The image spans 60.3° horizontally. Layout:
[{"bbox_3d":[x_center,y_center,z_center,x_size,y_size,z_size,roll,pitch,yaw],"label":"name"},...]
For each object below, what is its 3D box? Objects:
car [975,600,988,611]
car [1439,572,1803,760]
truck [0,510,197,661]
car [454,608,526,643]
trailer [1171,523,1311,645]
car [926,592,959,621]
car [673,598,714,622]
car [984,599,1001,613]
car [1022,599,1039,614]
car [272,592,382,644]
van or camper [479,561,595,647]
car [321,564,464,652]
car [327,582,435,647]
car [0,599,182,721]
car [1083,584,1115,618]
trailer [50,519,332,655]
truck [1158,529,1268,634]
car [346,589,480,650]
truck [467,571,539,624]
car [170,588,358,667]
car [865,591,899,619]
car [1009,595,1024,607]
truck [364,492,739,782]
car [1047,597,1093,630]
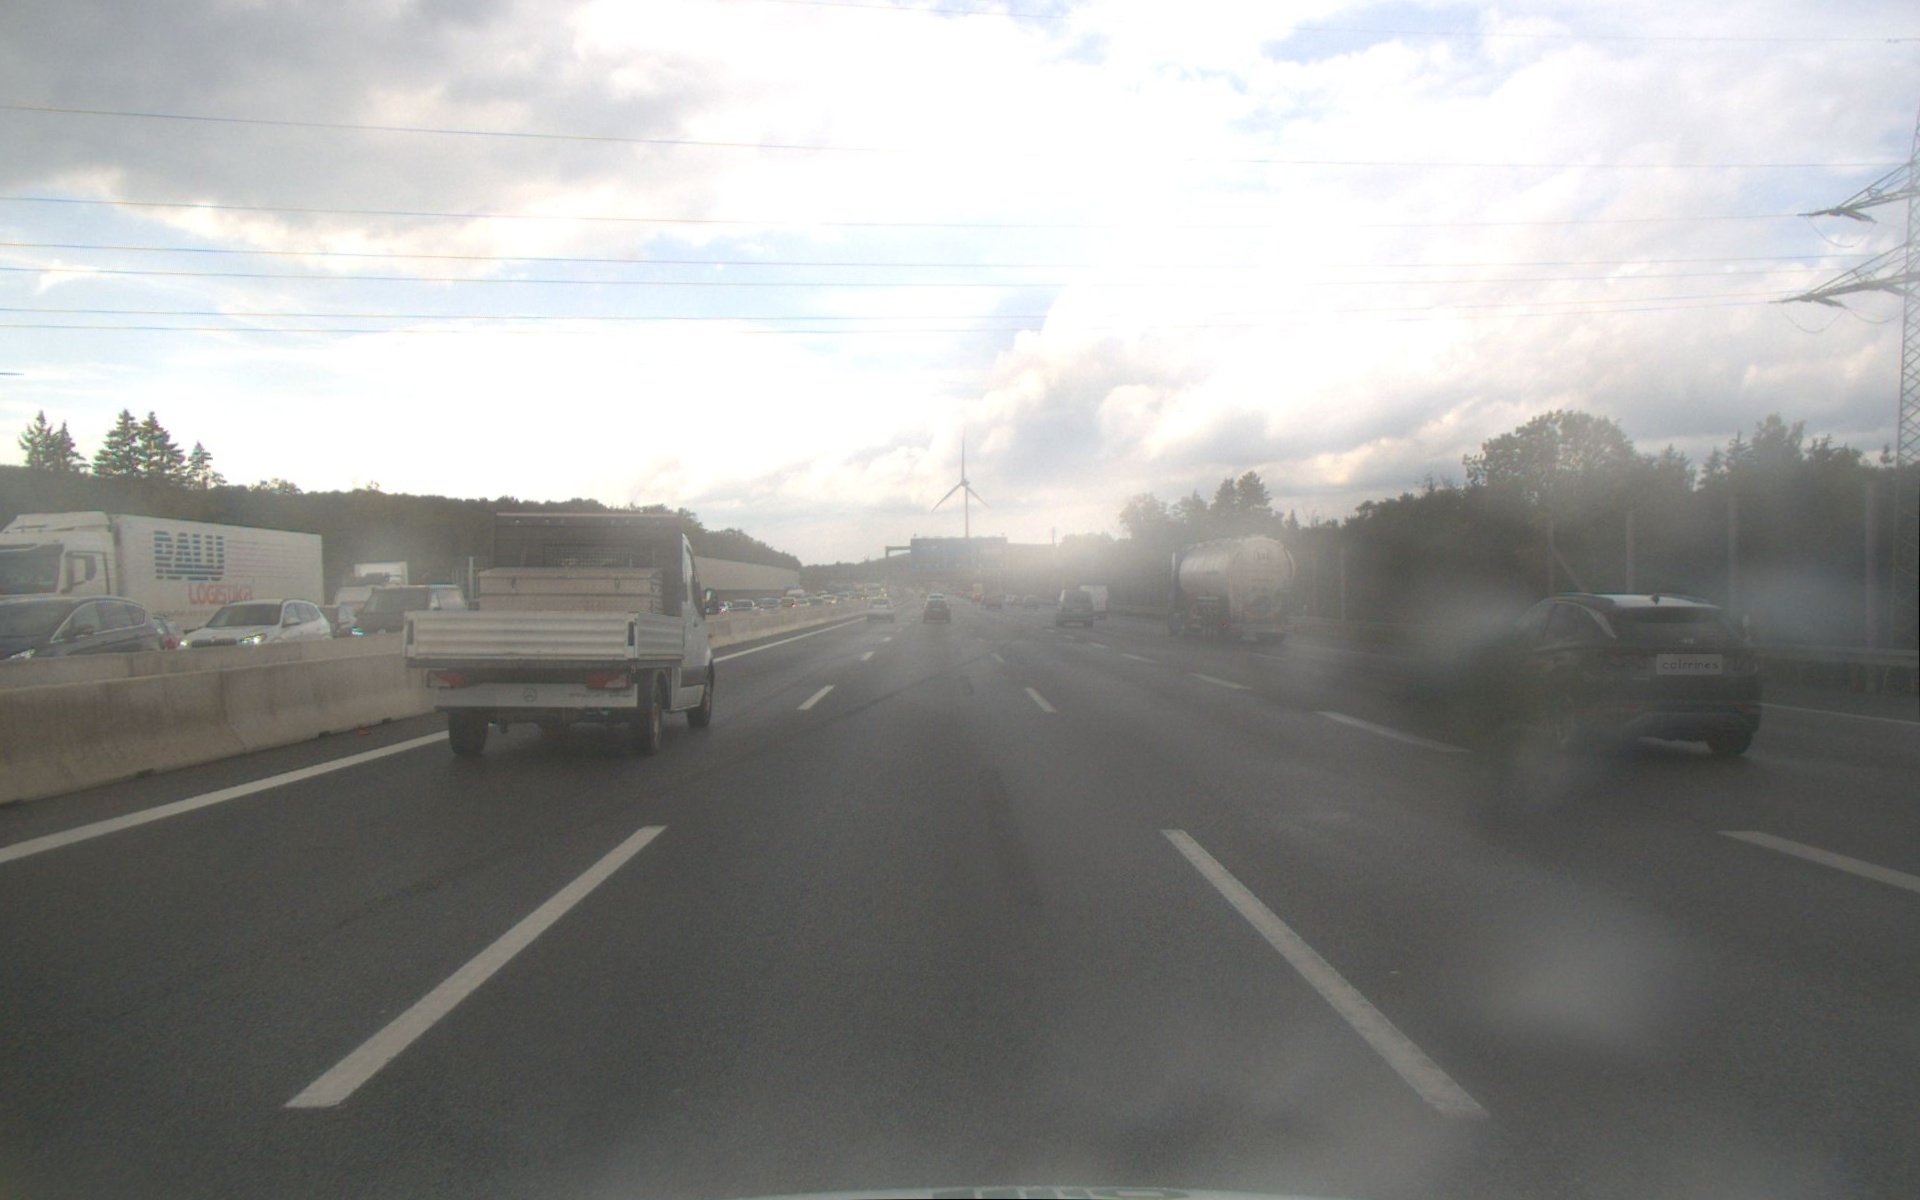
[{"bbox_3d":[3.328,0.839,251.986,1.830,1.758,3.999,0,0,-1],"label":"car"},{"bbox_3d":[7.042,0.602,18.313,2.003,1.729,5.007,2,1,0],"label":"car"},{"bbox_3d":[-22.109,-0.358,41.472,2.982,3.465,6.526,1,0,-1],"label":"truck"},{"bbox_3d":[-22.017,1.160,77.723,1.875,1.571,5.503,0,0,-1],"label":"car"},{"bbox_3d":[10.669,-0.600,64.183,3.265,4.249,11.836,1,0,-1],"label":"trailer"},{"bbox_3d":[-1.092,0.400,101.961,2.004,1.729,3.999,0,1,-1],"label":"car"},{"bbox_3d":[-14.945,0.551,92.981,1.655,1.358,4.371,0,0,-1],"label":"car"},{"bbox_3d":[4.117,0.769,210.325,2.003,1.729,4.000,0,1,0],"label":"car"},{"bbox_3d":[8.892,0.834,208.985,1.953,1.780,4.496,0,0,-1],"label":"car"},{"bbox_3d":[-18.471,0.499,48.404,1.716,1.435,3.999,1,0,-1],"label":"car"},{"bbox_3d":[-14.370,0.120,56.716,2.134,2.752,7.519,0,0,-1],"label":"van or camper"},{"bbox_3d":[-27.799,0.360,81.783,3.137,4.016,11.655,0,0,-1],"label":"car"},{"bbox_3d":[-18.878,0.437,54.143,2.163,2.036,3.999,1,0,-1],"label":"car"},{"bbox_3d":[-13.938,0.826,25.282,1.856,1.652,4.844,1,0,-1],"label":"car"},{"bbox_3d":[10.557,0.025,126.086,2.003,2.541,3.999,0,1,-1],"label":"car"},{"bbox_3d":[-22.184,-0.371,48.806,2.963,3.493,11.774,1,0,-1],"label":"trailer"},{"bbox_3d":[10.592,-0.743,70.074,3.265,4.151,8.270,1,0,-1],"label":"truck"},{"bbox_3d":[-14.288,0.474,43.517,1.841,1.503,5.170,1,0,-1],"label":"car"},{"bbox_3d":[-32.514,-0.147,118.070,3.074,3.644,7.664,0,0,-1],"label":"truck"},{"bbox_3d":[-14.336,0.508,34.427,1.812,1.503,5.080,1,0,-1],"label":"car"},{"bbox_3d":[-4.891,0.290,103.755,2.003,1.729,3.999,0,1,-1],"label":"car"},{"bbox_3d":[8.332,0.192,244.955,2.003,1.729,4.000,0,1,0],"label":"car"},{"bbox_3d":[-3.987,0.282,17.830,2.305,2.450,7.357,1,1,-1],"label":"truck"},{"bbox_3d":[6.090,0.736,92.034,2.056,1.729,3.997,0,1,-4],"label":"car"}]
